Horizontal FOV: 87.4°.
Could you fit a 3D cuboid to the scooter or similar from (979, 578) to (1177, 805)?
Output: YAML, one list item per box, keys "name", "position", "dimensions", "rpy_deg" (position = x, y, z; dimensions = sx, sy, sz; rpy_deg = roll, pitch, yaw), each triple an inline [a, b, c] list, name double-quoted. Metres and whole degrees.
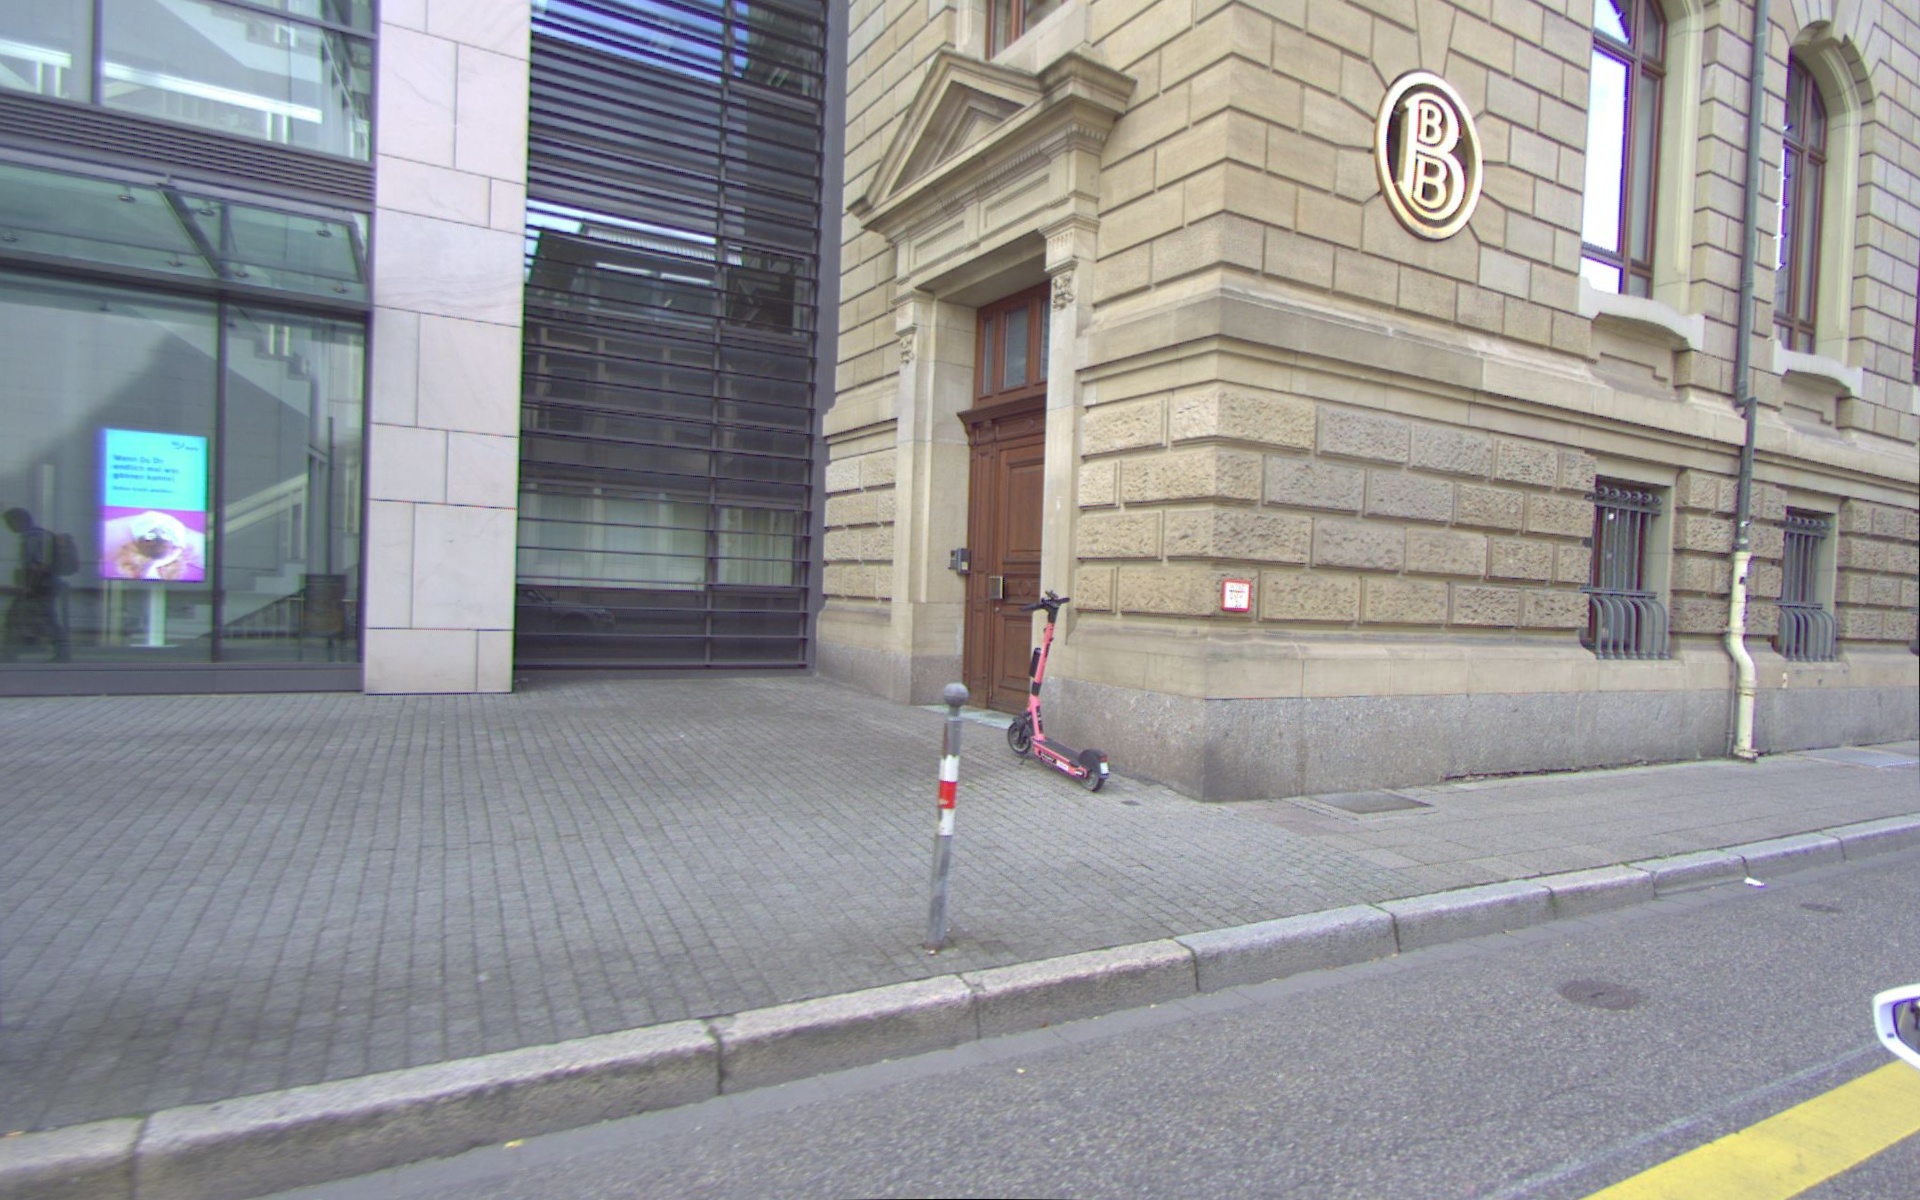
- name: "scooter or similar"
  position: [0.763, 0.557, 6.956]
  dimensions: [0.580, 1.328, 1.440]
  rpy_deg: [1, 4, -29]
